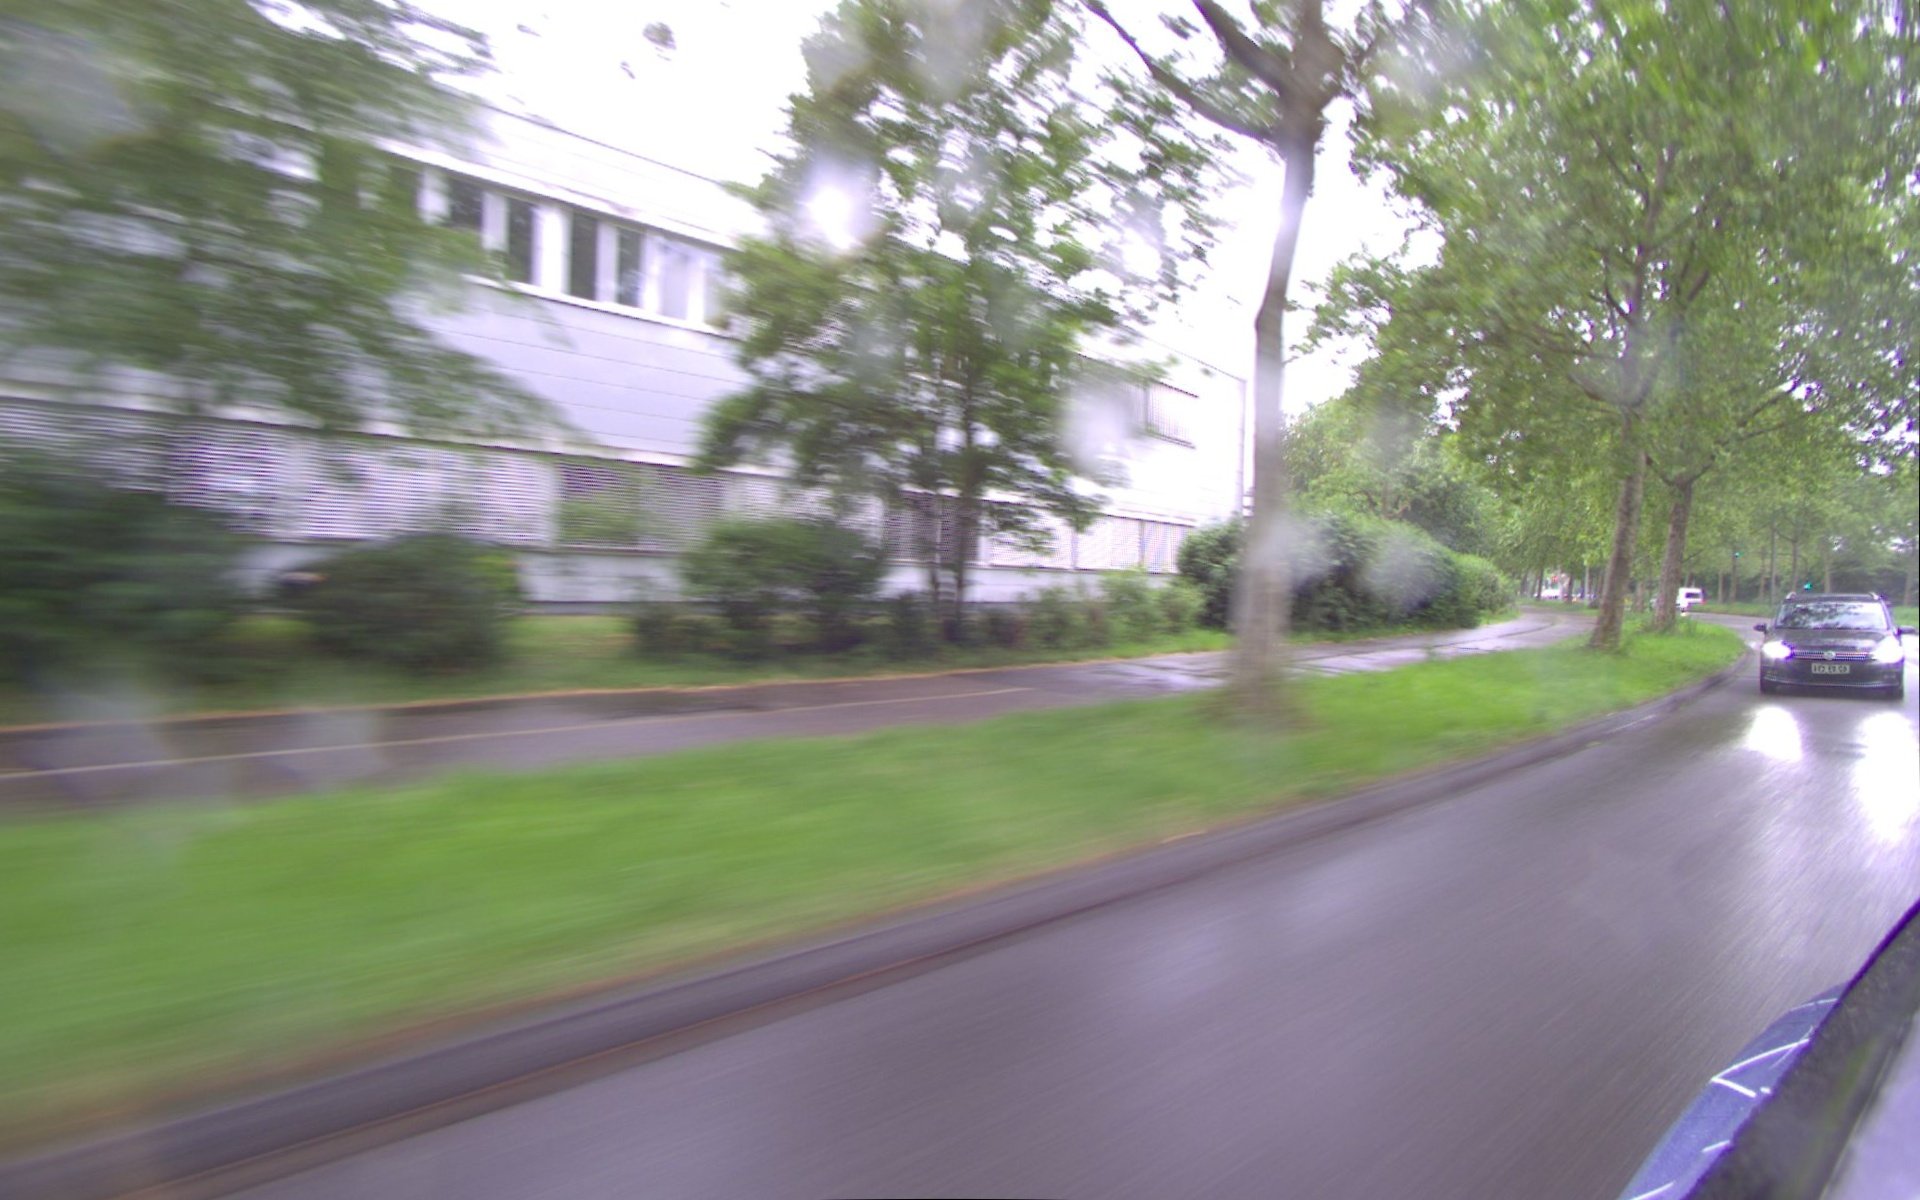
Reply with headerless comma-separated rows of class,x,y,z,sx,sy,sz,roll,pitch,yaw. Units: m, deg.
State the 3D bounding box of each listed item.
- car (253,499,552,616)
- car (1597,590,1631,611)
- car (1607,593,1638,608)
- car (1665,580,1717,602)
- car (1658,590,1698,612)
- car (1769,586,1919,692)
car,-9.280,-0.616,17.032,4.083,1.602,1.765,3,-2,-41
car,53.378,0.033,82.623,1.767,1.575,3.965,1,0,25
car,91.379,-0.001,139.627,1.913,1.964,5.173,1,1,15
car,83.089,-1.039,115.170,2.249,2.457,6.340,1,1,11
car,55.428,0.071,78.160,1.766,1.575,3.966,1,0,24
car,14.890,0.602,17.076,1.777,1.575,3.941,-2,-1,41
